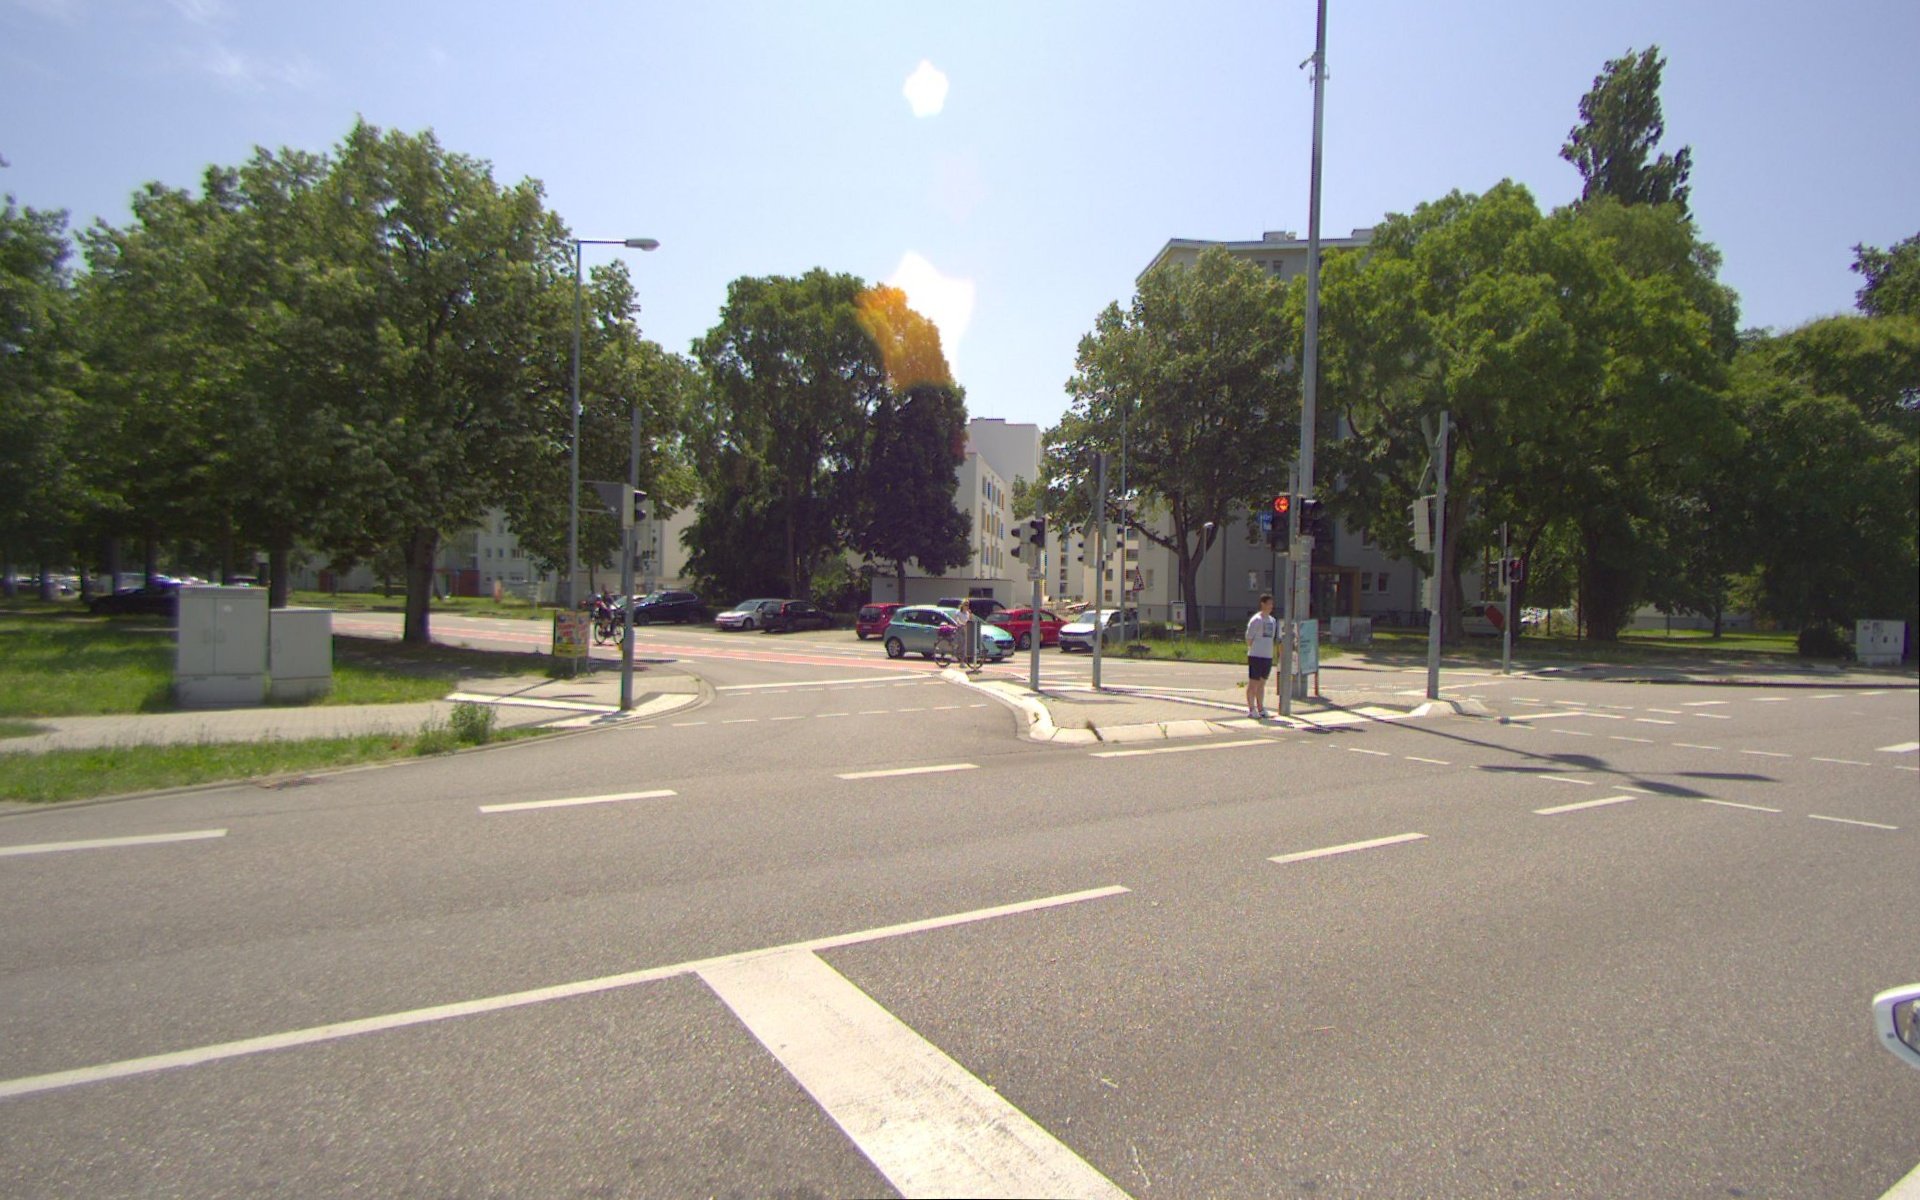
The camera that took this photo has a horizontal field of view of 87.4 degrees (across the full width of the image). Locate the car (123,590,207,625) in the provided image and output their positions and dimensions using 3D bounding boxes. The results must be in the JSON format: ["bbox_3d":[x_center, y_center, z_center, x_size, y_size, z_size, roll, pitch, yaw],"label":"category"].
[{"bbox_3d":[-51.862,0.481,65.592,1.969,2.041,3.982,6,3,39],"label":"car"}]

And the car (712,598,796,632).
[{"bbox_3d":[-10.023,0.716,49.035,1.667,1.583,3.823,1,0,37],"label":"car"}]

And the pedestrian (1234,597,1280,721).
[{"bbox_3d":[4.190,0.817,14.169,0.481,1.710,0.380,1,1,-34],"label":"pedestrian"}]

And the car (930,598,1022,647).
[{"bbox_3d":[0.689,0.889,40.667,1.682,1.825,3.984,3,1,37],"label":"car"}]

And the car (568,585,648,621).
[{"bbox_3d":[-20.135,0.174,57.547,1.822,1.974,3.984,3,1,37],"label":"car"}]

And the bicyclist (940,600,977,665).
[{"bbox_3d":[-0.032,0.796,24.803,0.655,1.557,0.629,2,0,38],"label":"bicyclist"}]

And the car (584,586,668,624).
[{"bbox_3d":[-18.244,0.277,54.997,1.822,1.974,3.984,3,1,37],"label":"car"}]

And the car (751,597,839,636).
[{"bbox_3d":[-7.807,0.785,47.852,1.823,1.734,3.985,2,0,37],"label":"car"}]

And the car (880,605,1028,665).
[{"bbox_3d":[-0.206,0.926,28.095,3.834,1.488,1.769,1,1,36],"label":"car"}]

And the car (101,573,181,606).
[{"bbox_3d":[-56.358,-0.705,69.171,1.969,2.041,3.982,6,3,39],"label":"car"}]

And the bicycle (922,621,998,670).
[{"bbox_3d":[-0.013,1.094,24.785,1.840,1.108,0.644,1,0,38],"label":"bicycle"}]

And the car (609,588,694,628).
[{"bbox_3d":[-16.184,0.397,52.845,1.822,1.974,3.984,3,1,37],"label":"car"}]

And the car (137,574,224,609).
[{"bbox_3d":[-48.650,-0.509,62.732,1.970,2.041,3.981,6,3,40],"label":"car"}]

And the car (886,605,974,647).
[{"bbox_3d":[-1.200,1.035,42.005,1.680,1.613,3.989,3,1,33],"label":"car"}]

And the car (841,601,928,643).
[{"bbox_3d":[-3.229,0.953,43.745,1.819,1.690,3.993,1,0,29],"label":"car"}]

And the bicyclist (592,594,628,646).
[{"bbox_3d":[-11.871,0.667,34.028,0.884,1.715,0.770,2,0,38],"label":"bicyclist"}]

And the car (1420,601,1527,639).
[{"bbox_3d":[25.972,0.985,50.897,4.456,1.791,1.793,1,0,10],"label":"car"}]

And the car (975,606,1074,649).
[{"bbox_3d":[2.521,1.028,38.713,1.600,1.483,3.976,3,1,43],"label":"car"}]

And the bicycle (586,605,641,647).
[{"bbox_3d":[-11.703,0.864,33.886,2.028,1.317,0.770,1,0,38],"label":"bicycle"}]

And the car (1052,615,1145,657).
[{"bbox_3d":[5.164,1.290,37.129,1.604,1.399,3.983,3,1,38],"label":"car"}]

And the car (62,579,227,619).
[{"bbox_3d":[-31.327,-0.028,38.736,4.505,1.487,1.995,0,0,-13],"label":"car"}]
